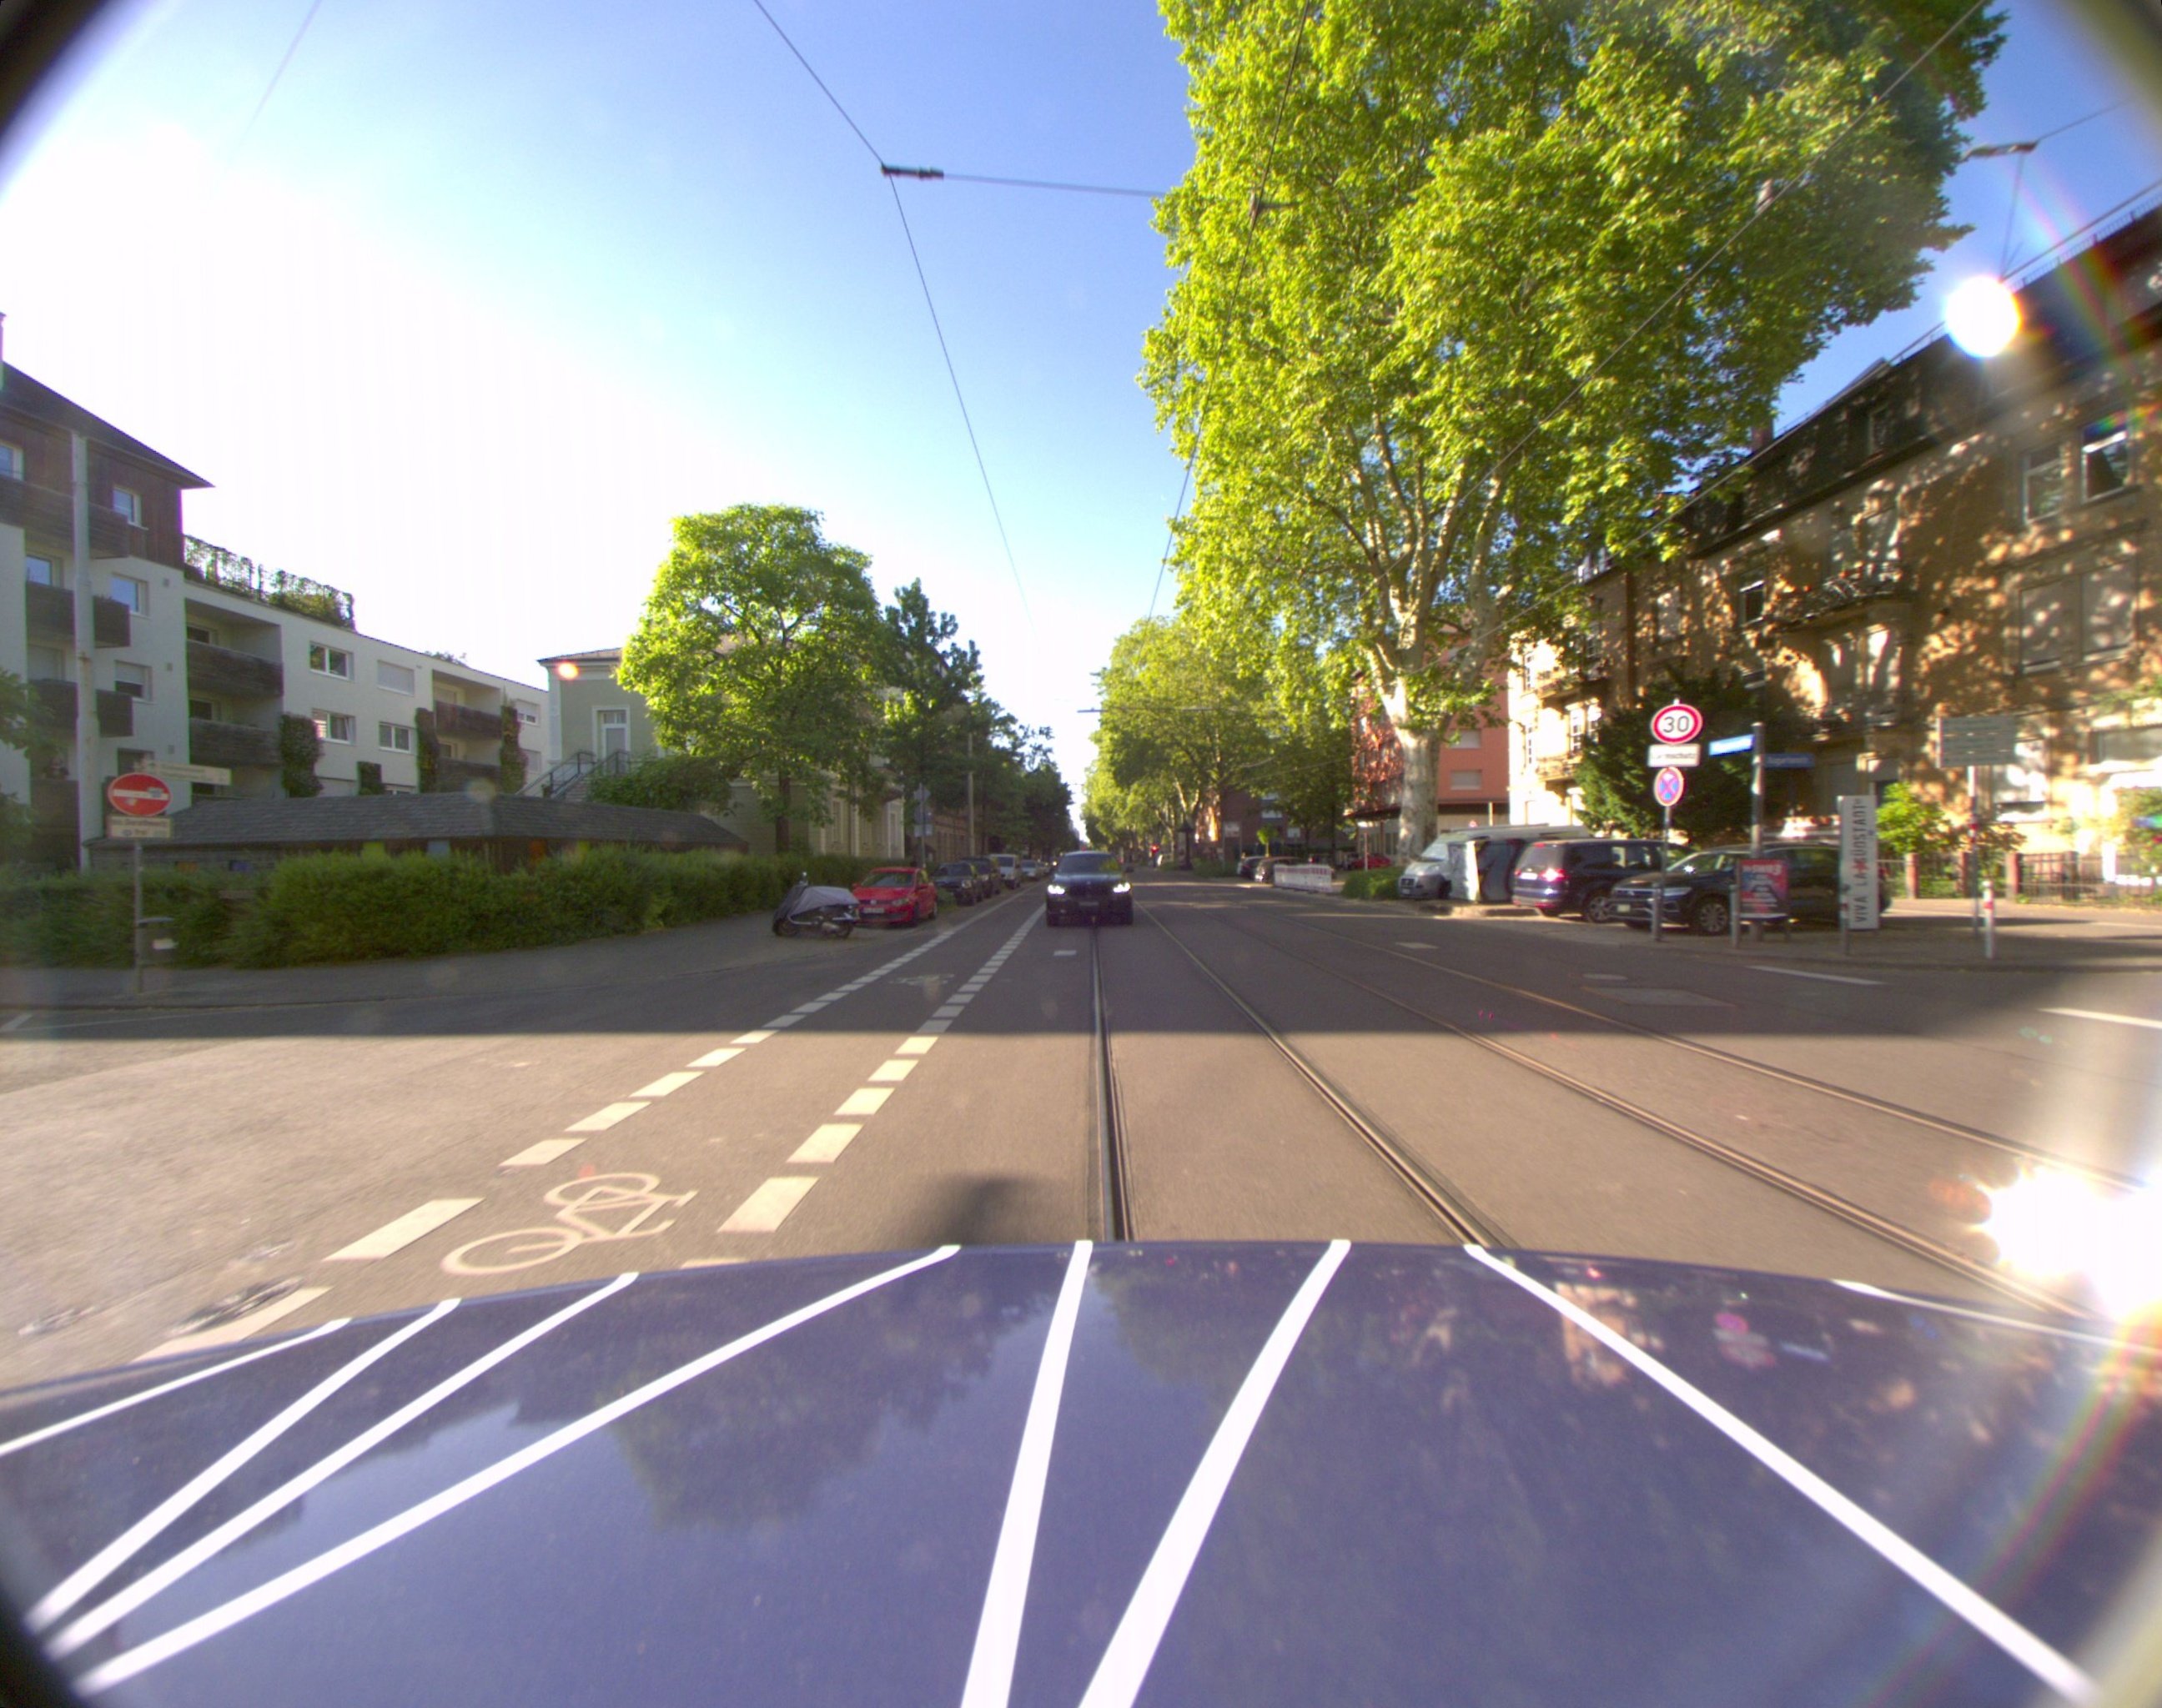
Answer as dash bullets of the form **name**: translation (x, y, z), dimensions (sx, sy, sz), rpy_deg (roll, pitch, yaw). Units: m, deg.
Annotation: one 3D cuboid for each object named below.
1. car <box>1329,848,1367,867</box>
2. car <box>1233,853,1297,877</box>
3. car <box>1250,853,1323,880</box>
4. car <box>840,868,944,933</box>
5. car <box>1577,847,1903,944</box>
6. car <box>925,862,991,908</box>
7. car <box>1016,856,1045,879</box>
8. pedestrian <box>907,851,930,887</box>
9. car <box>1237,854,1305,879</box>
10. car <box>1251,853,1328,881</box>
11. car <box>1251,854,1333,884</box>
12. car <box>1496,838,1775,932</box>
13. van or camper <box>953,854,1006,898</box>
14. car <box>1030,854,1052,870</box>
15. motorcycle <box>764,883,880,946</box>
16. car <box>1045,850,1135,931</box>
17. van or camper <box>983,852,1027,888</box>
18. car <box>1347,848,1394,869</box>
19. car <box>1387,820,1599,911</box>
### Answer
- **car**: translation (21.501, 0.243, 61.353), dimensions (1.671, 1.438, 3.651), rpy_deg (1, 0, -1)
- **car**: translation (12.664, 0.729, 52.381), dimensions (3.966, 1.506, 1.810), rpy_deg (-2, 0, -1)
- **car**: translation (12.638, 0.758, 46.849), dimensions (3.966, 1.506, 1.810), rpy_deg (-2, 0, -1)
- **car**: translation (-4.662, 1.106, 19.286), dimensions (1.607, 1.372, 3.864), rpy_deg (1, 0, 1)
- **car**: translation (11.631, 0.697, 13.635), dimensions (4.170, 1.506, 1.925), rpy_deg (-2, 0, -1)
- **car**: translation (-4.450, 1.069, 27.981), dimensions (1.694, 1.478, 4.143), rpy_deg (1, 0, 1)
- **car**: translation (-3.858, 0.997, 58.560), dimensions (1.815, 1.702, 4.372), rpy_deg (1, 0, 1)
- **pedestrian**: translation (-7.688, 0.711, 35.942), dimensions (0.813, 1.669, 0.885), rpy_deg (-2, 1, 1)
- **car**: translation (12.333, 0.796, 49.551), dimensions (3.966, 1.506, 1.810), rpy_deg (-2, 0, -1)
- **car**: translation (12.227, 0.758, 44.754), dimensions (3.966, 1.506, 1.810), rpy_deg (-2, 0, -1)
- **car**: translation (11.564, 0.807, 41.759), dimensions (3.966, 1.506, 1.810), rpy_deg (-2, 0, -1)
- **car**: translation (11.705, 0.628, 16.286), dimensions (4.464, 1.755, 2.028), rpy_deg (-2, 0, -1)
- **van or camper**: translation (-4.447, 0.926, 33.745), dimensions (1.694, 1.772, 4.443), rpy_deg (1, 0, 1)
- **car**: translation (-3.824, 0.744, 72.991), dimensions (1.781, 1.490, 4.372), rpy_deg (1, 0, 1)
- **motorcycle**: translation (-5.301, 1.219, 15.621), dimensions (2.071, 1.152, 0.828), rpy_deg (2, 1, 4)
- **car**: translation (0.225, 0.787, 18.926), dimensions (1.924, 1.741, 4.806), rpy_deg (-1, 0, 1)
- **van or camper**: translation (-4.233, 0.855, 42.956), dimensions (1.882, 1.873, 4.923), rpy_deg (1, 0, 1)
- **car**: translation (21.553, 0.303, 56.749), dimensions (1.671, 1.438, 4.610), rpy_deg (1, 0, -1)
- **car**: translation (11.860, 0.316, 22.106), dimensions (5.019, 2.383, 2.028), rpy_deg (-2, 0, -1)
